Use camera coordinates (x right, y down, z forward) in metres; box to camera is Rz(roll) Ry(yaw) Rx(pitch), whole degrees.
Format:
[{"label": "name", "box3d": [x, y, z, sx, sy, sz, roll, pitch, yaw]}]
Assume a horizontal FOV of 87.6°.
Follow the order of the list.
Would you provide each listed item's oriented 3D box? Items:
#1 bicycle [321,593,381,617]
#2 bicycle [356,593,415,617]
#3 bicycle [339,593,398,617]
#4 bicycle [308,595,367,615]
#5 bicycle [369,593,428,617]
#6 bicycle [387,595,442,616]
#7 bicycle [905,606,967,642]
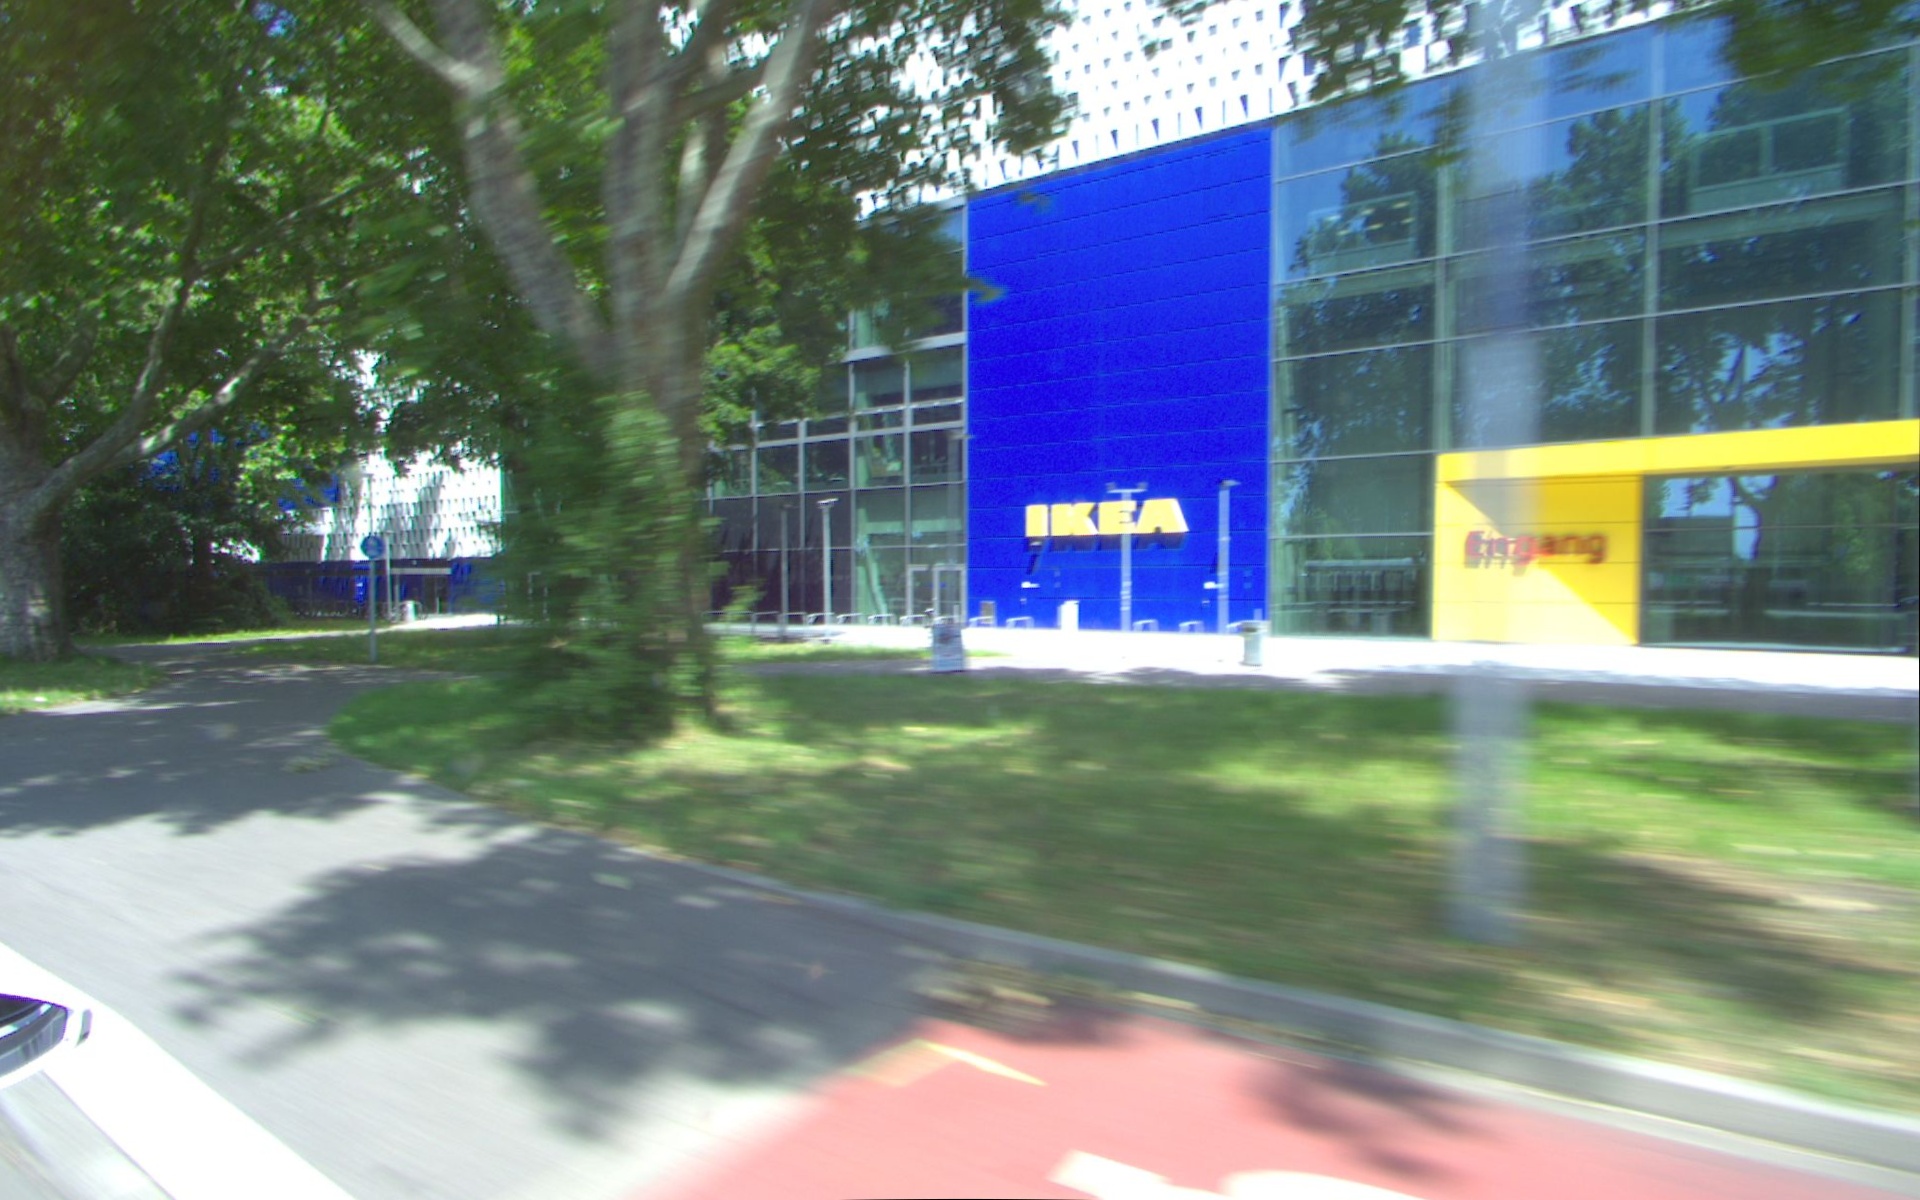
[{"label": "bicycle", "box3d": [-30.484, 0.247, 50.166, 0.747, 1.125, 2.543, 1, 0, 28]}, {"label": "bicycle", "box3d": [-28.221, 0.250, 49.245, 0.747, 1.125, 2.543, 1, 0, 28]}, {"label": "bicycle", "box3d": [-29.316, 0.248, 49.672, 0.747, 1.125, 2.543, 1, 0, 28]}, {"label": "bicycle", "box3d": [-31.559, 0.250, 50.810, 0.747, 0.983, 2.543, 1, 0, 28]}, {"label": "bicycle", "box3d": [-27.346, 0.250, 48.818, 0.747, 1.125, 2.543, 1, 0, 28]}, {"label": "bicycle", "box3d": [-26.342, 0.250, 48.363, 0.747, 0.973, 2.313, 1, 0, 28]}, {"label": "bicycle", "box3d": [-0.674, 0.673, 28.648, 0.855, 0.982, 2.057, 1, 1, 29]}]
